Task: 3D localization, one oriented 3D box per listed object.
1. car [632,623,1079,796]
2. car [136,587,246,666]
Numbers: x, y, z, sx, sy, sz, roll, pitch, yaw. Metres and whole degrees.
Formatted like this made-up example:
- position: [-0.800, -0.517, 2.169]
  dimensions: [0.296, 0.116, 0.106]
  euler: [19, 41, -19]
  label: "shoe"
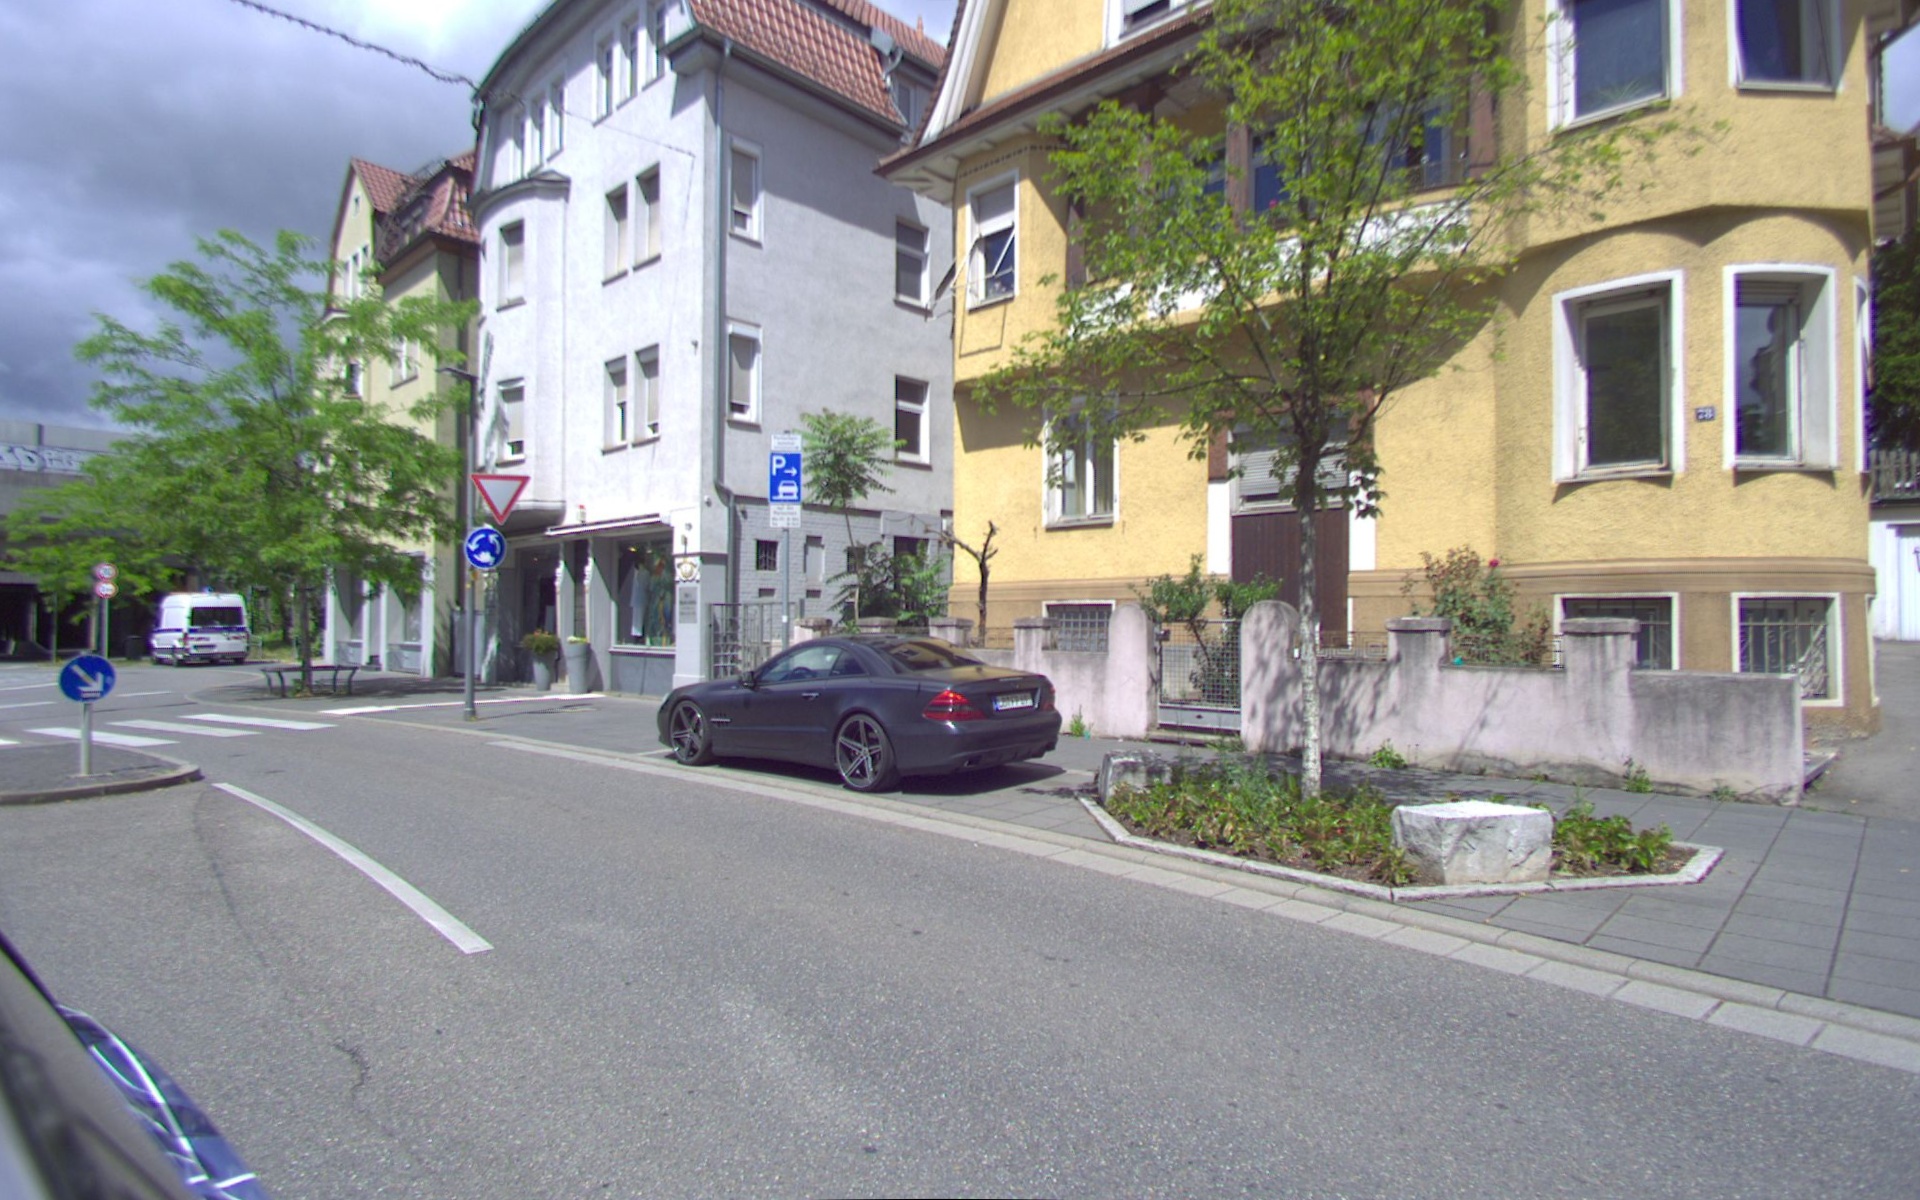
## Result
- position: [-1.177, 0.884, 9.581]
  dimensions: [4.410, 1.255, 1.691]
  euler: [-2, -2, 42]
  label: "car"
- position: [-27.869, 0.954, 36.583]
  dimensions: [5.926, 2.626, 1.947]
  euler: [-2, -1, 41]
  label: "car"
